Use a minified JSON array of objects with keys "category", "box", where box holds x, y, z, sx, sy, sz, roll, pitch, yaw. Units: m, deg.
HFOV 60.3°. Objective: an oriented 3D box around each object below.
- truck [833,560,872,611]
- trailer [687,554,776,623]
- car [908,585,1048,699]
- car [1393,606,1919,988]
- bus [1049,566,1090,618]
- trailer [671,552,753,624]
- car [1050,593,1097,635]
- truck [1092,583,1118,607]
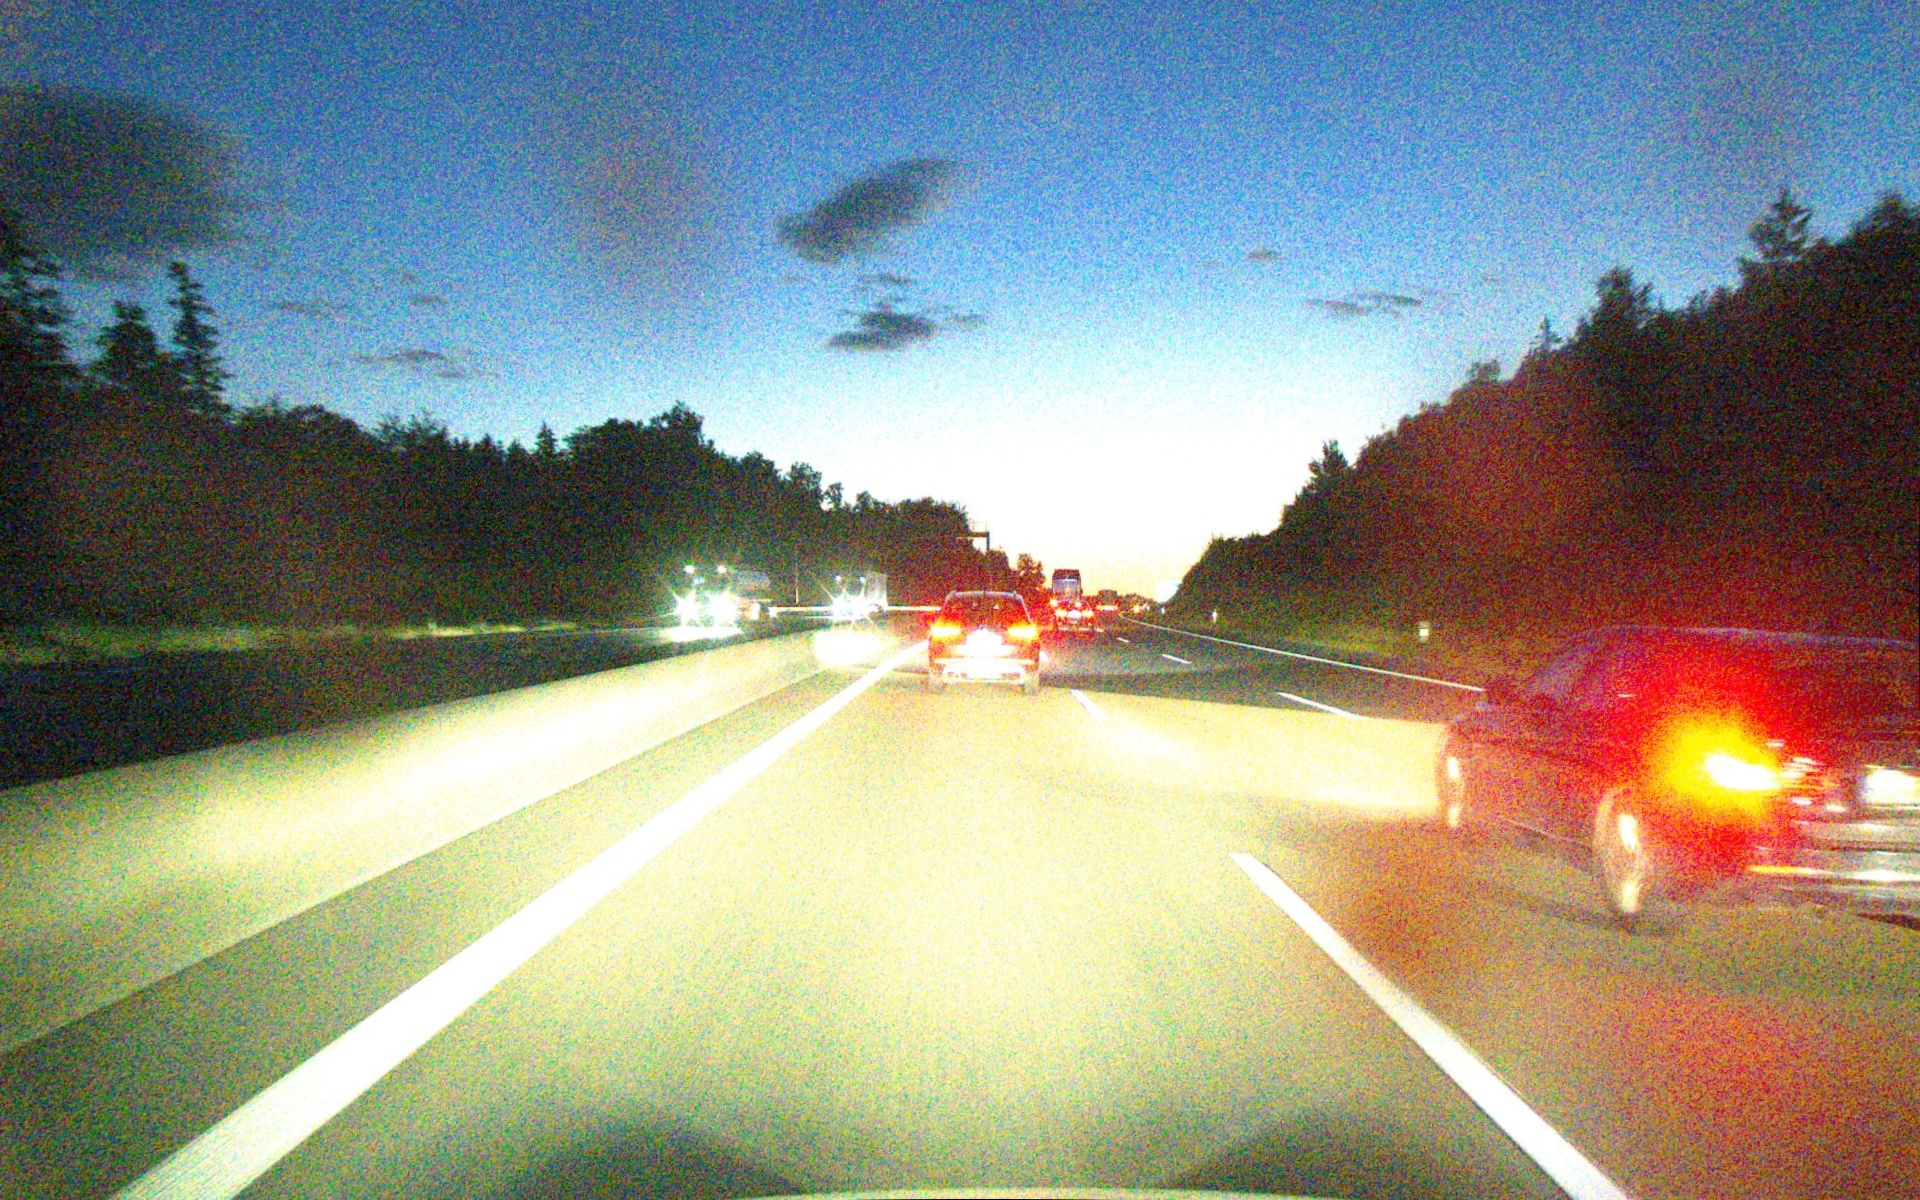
[{"category":"truck","box":[-9.777,-1.323,151.547,2.793,4.511,6.399,1,0,3]},{"category":"trailer","box":[-13.213,-0.607,96.939,2.993,3.753,11.691,1,0,3]},{"category":"car","box":[0.303,0.604,26.685,2.062,1.646,4.205,1,1,1]},{"category":"car","box":[3.979,0.770,8.935,1.798,1.425,5.067,0,0,-2]},{"category":"bus","box":[9.732,-0.600,145.979,2.596,4.064,14.711,-2,-2,7]},{"category":"trailer","box":[-13.525,-0.621,90.770,2.993,3.753,7.232,1,0,3]},{"category":"car","box":[5.152,0.653,75.282,1.872,1.760,4.000,3,-1,1]},{"category":"truck","box":[19.306,-0.664,220.606,2.494,3.069,9.051,1,0,-1]}]
